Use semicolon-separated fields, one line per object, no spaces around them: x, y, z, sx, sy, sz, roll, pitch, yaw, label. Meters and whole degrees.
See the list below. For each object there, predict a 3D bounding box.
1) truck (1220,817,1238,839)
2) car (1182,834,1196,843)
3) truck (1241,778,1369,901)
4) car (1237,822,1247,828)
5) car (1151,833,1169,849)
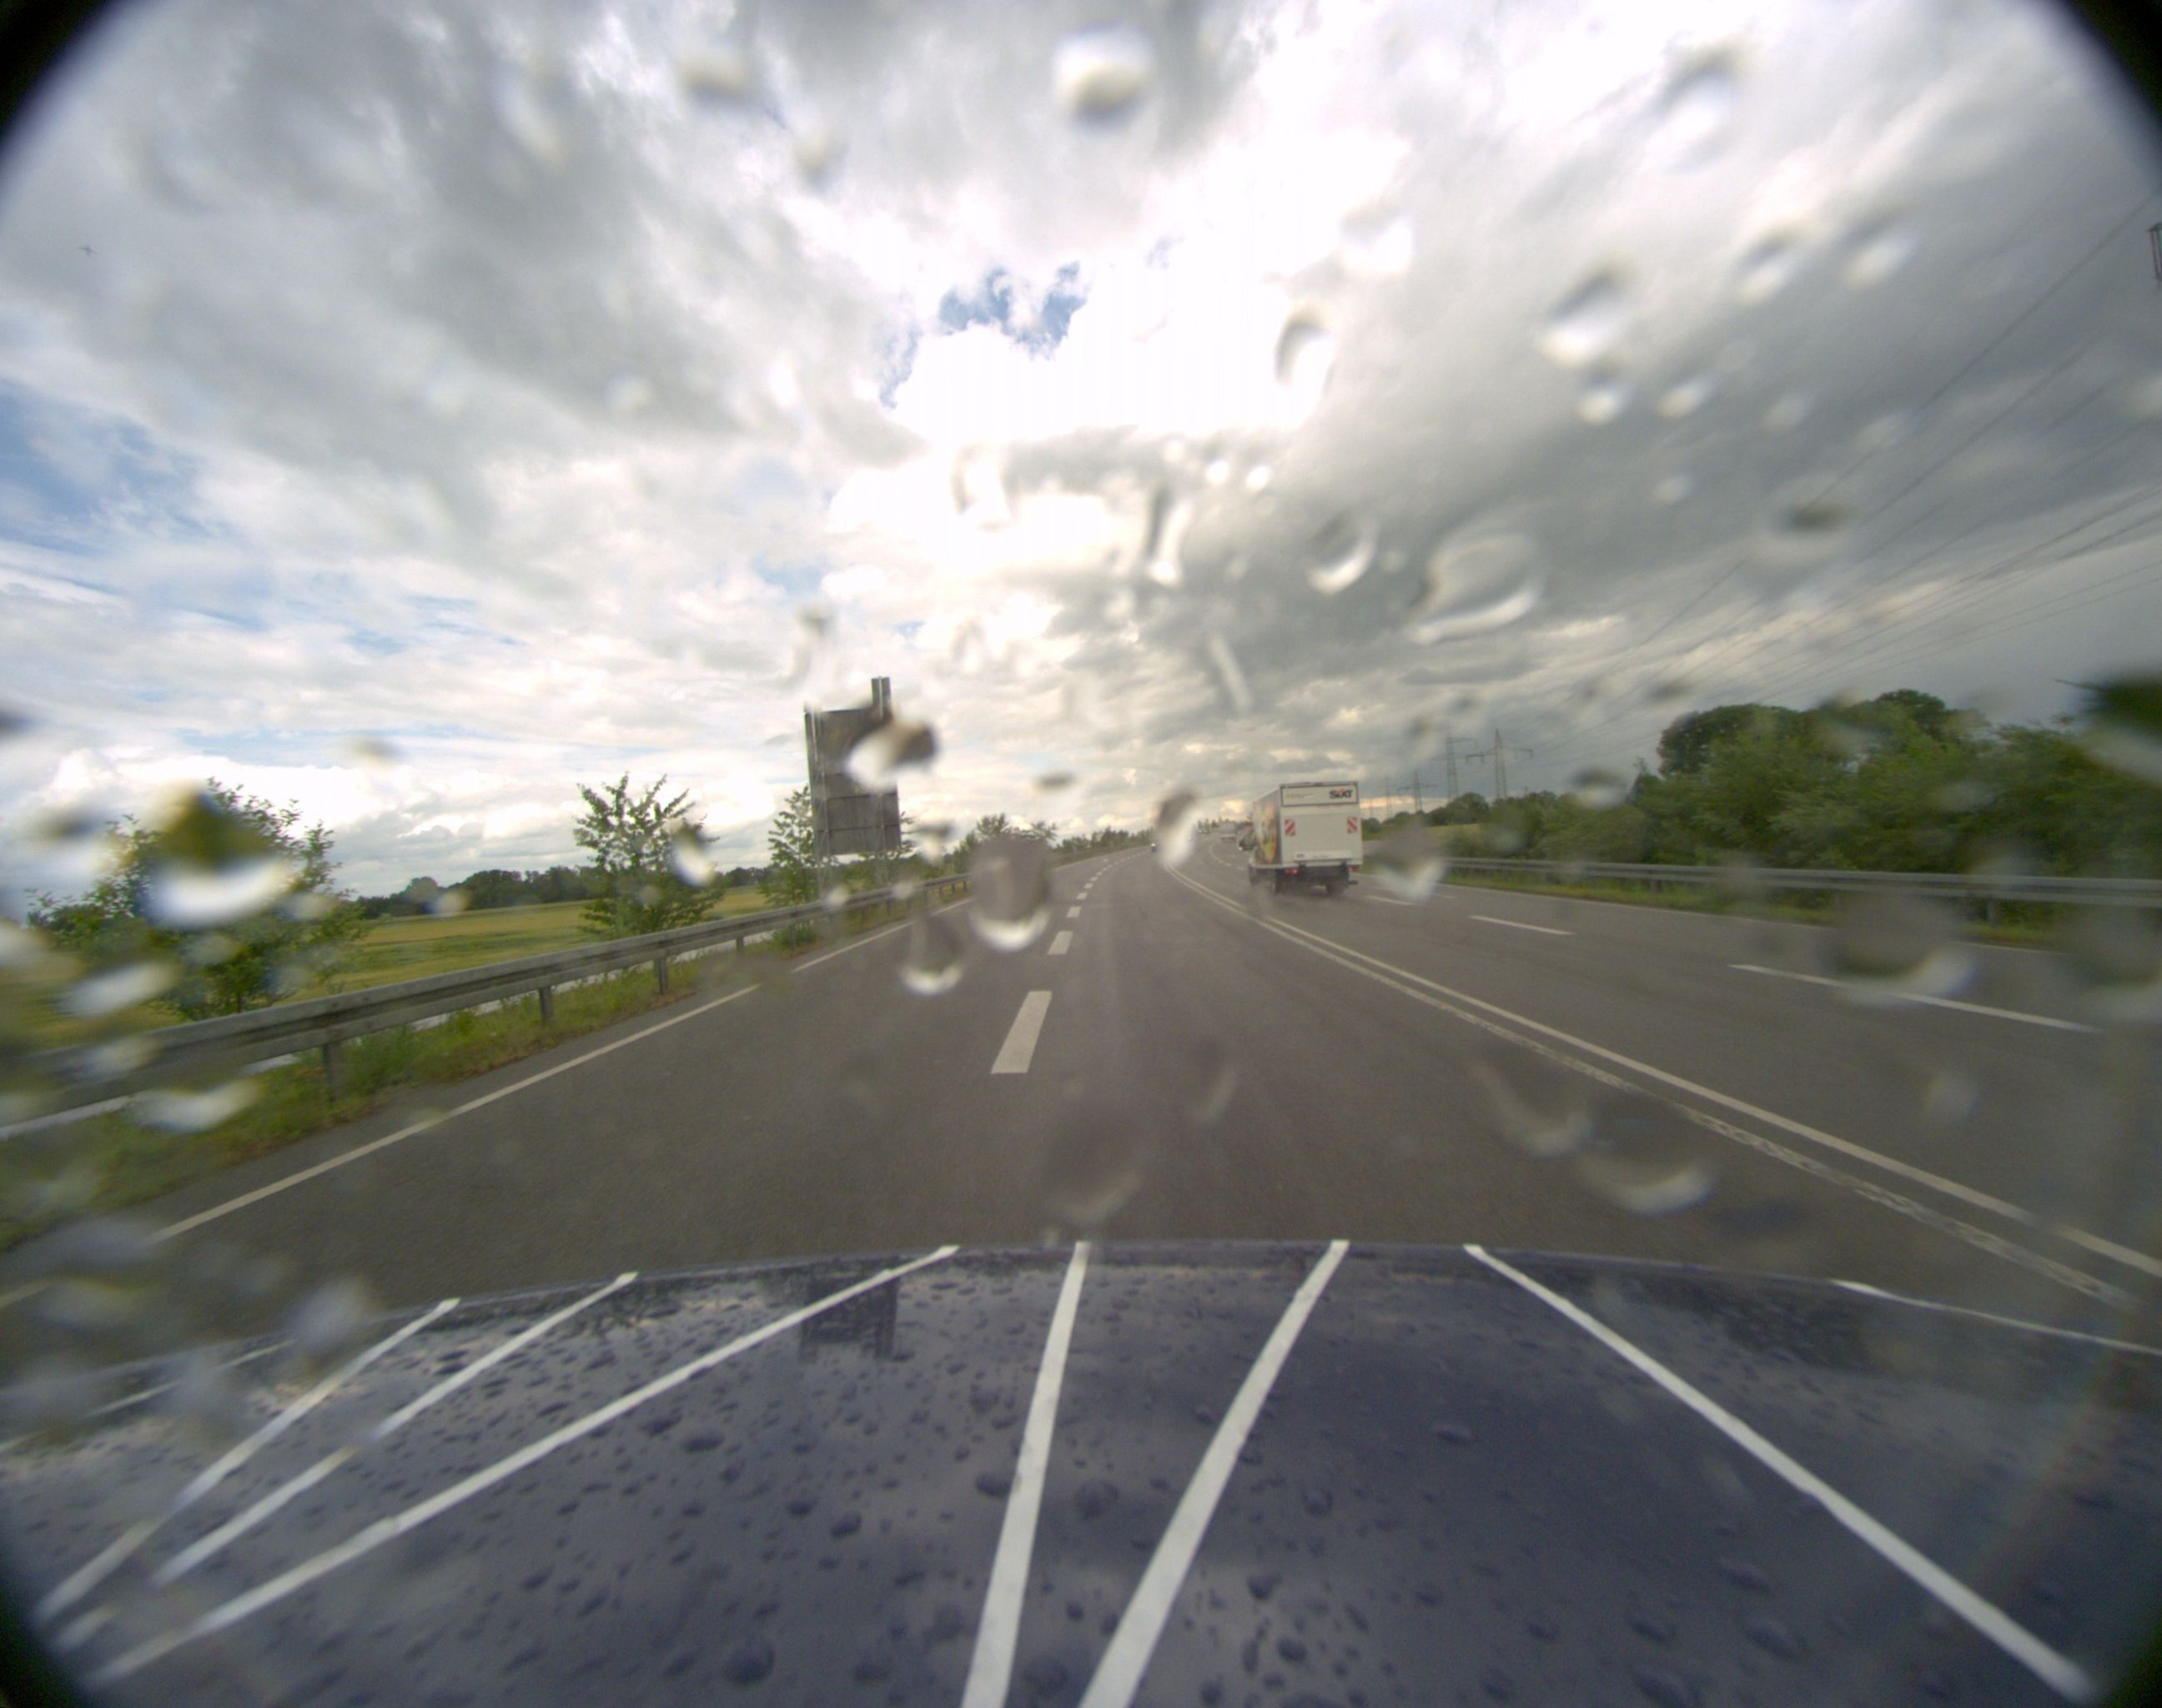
22.957;-3.984;117.606;2.484;3.273;7.285;-1;1;12;truck
18.691;-2.649;131.163;1.747;1.488;4.054;-4;0;15;car
6.543;-0.444;23.159;2.261;3.138;6.690;-2;1;4;truck
43.412;-7.723;204.767;1.898;1.433;4.905;-1;3;21;car
9.468;-1.571;91.138;1.795;1.758;4.003;-4;0;10;car
